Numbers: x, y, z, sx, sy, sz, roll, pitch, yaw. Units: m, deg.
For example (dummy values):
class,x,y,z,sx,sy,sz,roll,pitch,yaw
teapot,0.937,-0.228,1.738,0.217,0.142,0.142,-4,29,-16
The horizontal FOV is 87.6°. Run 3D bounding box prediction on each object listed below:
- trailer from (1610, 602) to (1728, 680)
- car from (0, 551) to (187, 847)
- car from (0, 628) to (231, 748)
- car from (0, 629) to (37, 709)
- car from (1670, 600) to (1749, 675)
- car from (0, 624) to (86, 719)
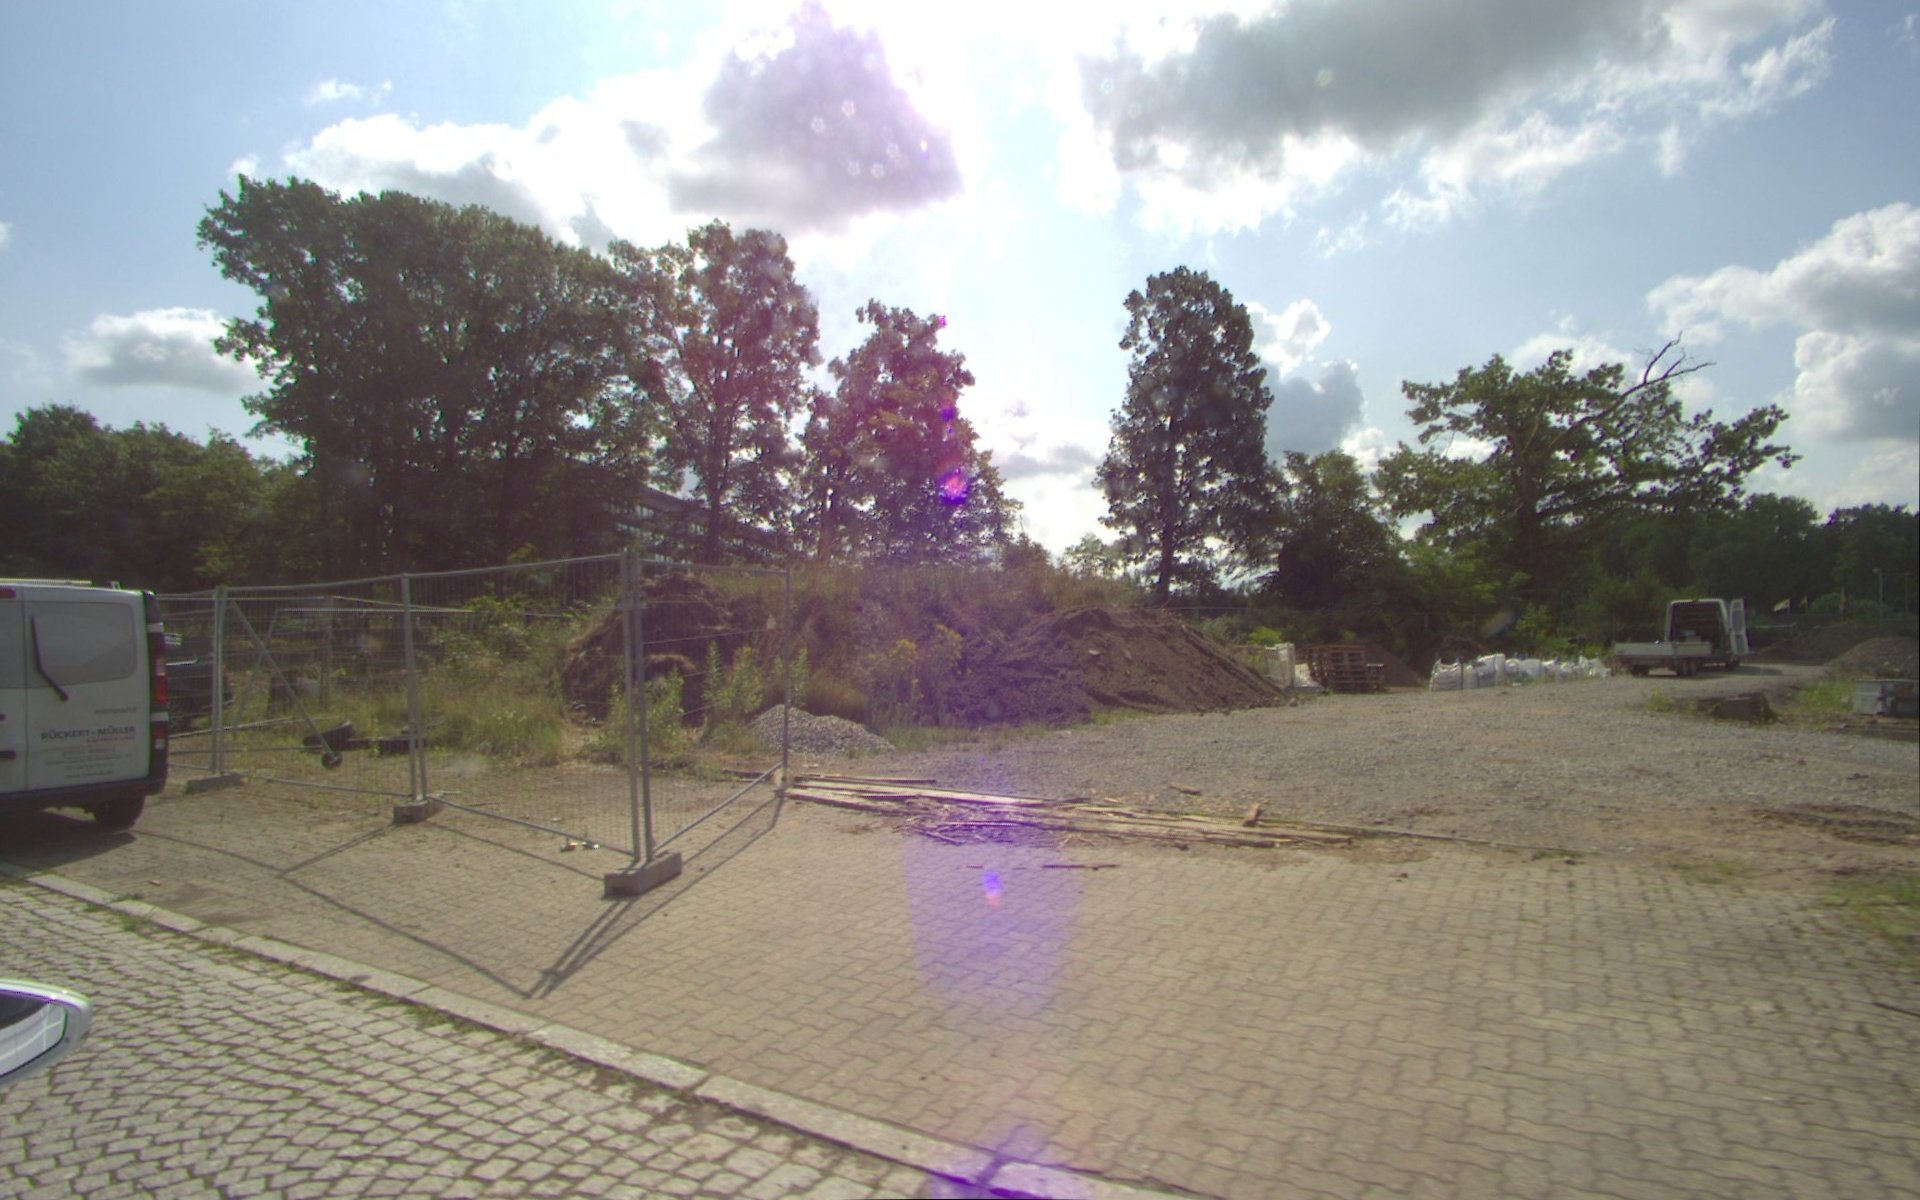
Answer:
class,x,y,z,sx,sy,sz,roll,pitch,yaw
trailer,24.262,1.364,34.226,4.787,2.504,1.947,1,-2,-37
car,-9.024,0.761,8.660,5.598,2.079,1.911,-1,-2,32
car,-12.943,1.183,13.743,1.718,1.494,4.452,-1,-1,26
car,-19.291,1.295,17.705,1.678,1.483,4.039,-1,-1,28
car,28.329,1.379,37.773,2.220,2.624,5.399,-1,-2,39
car,-16.815,1.188,15.964,1.720,1.526,3.983,-1,-1,28
